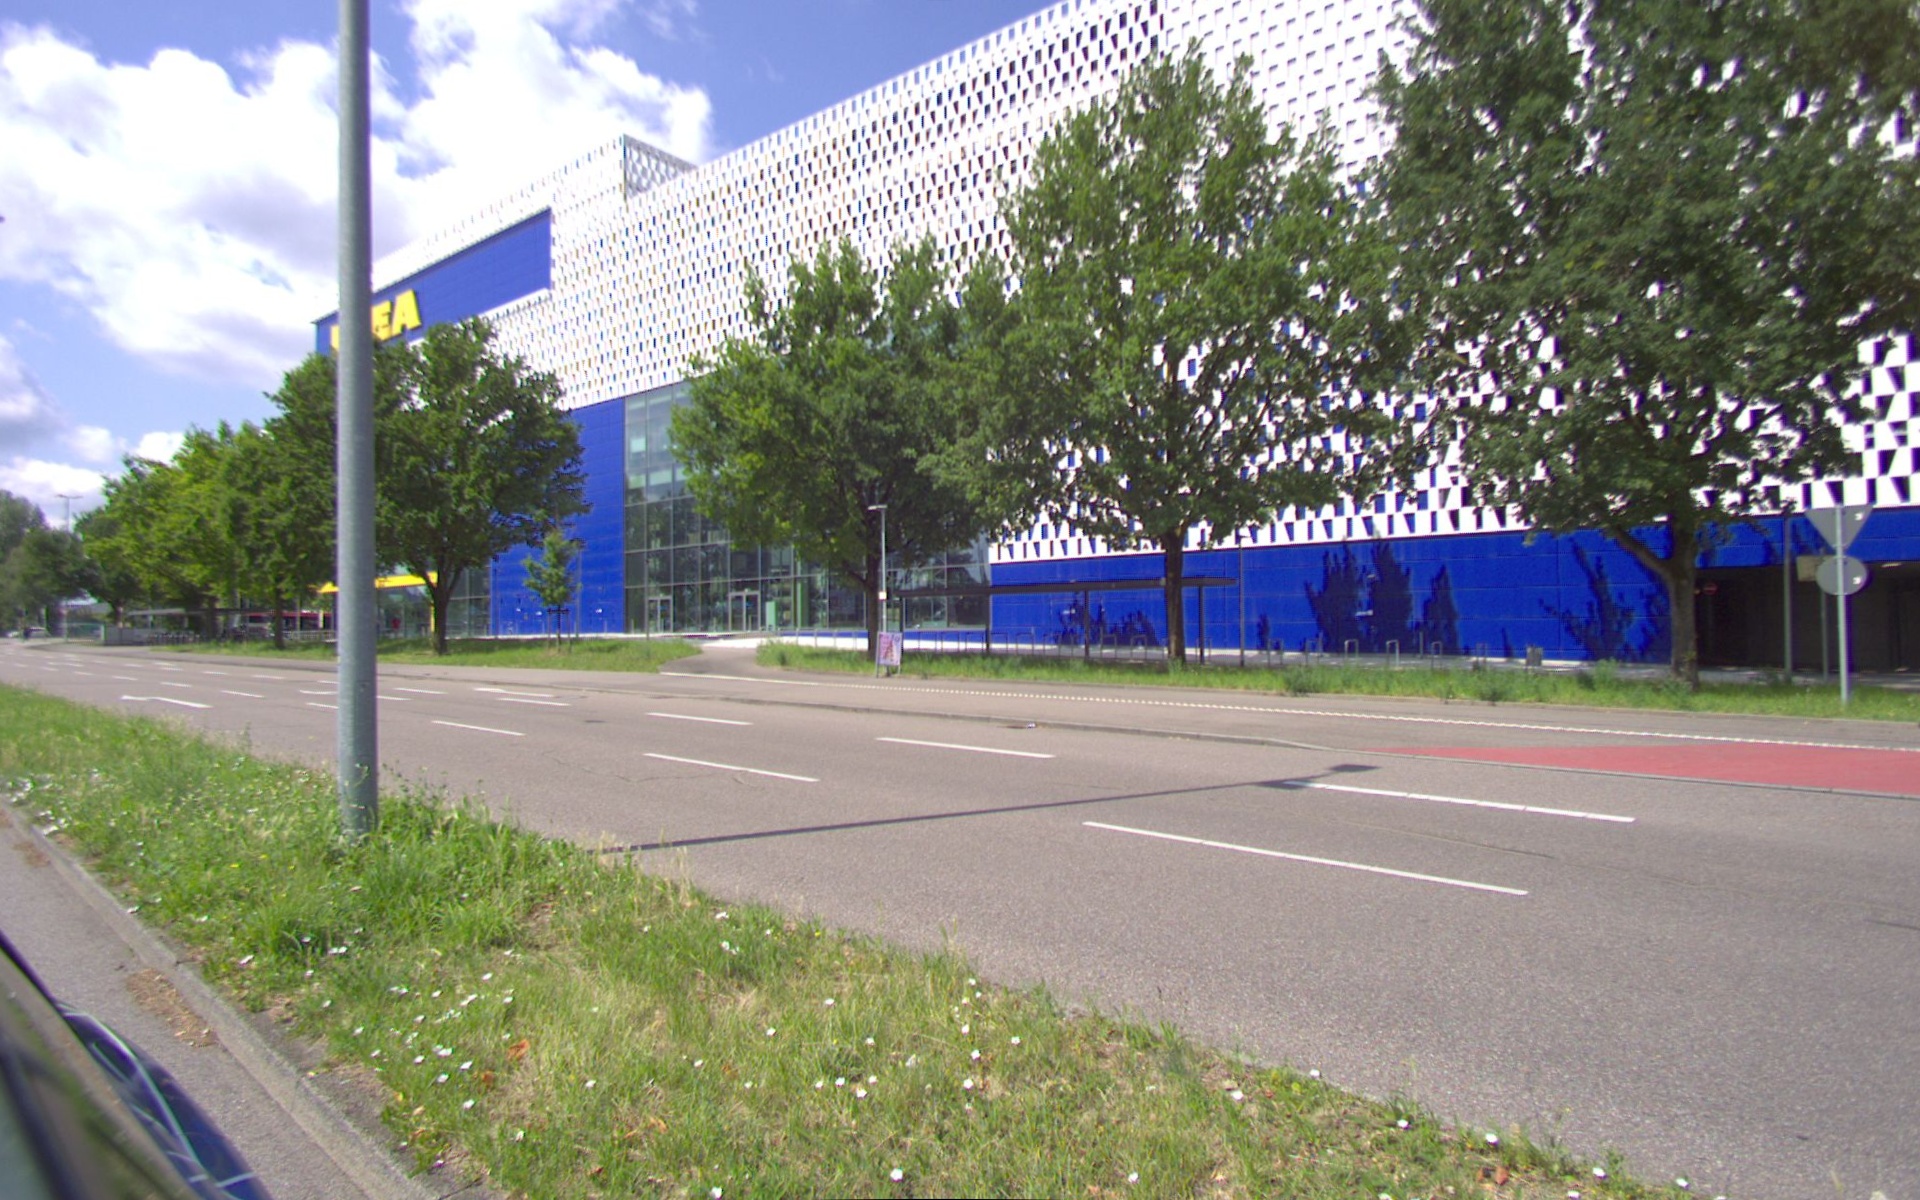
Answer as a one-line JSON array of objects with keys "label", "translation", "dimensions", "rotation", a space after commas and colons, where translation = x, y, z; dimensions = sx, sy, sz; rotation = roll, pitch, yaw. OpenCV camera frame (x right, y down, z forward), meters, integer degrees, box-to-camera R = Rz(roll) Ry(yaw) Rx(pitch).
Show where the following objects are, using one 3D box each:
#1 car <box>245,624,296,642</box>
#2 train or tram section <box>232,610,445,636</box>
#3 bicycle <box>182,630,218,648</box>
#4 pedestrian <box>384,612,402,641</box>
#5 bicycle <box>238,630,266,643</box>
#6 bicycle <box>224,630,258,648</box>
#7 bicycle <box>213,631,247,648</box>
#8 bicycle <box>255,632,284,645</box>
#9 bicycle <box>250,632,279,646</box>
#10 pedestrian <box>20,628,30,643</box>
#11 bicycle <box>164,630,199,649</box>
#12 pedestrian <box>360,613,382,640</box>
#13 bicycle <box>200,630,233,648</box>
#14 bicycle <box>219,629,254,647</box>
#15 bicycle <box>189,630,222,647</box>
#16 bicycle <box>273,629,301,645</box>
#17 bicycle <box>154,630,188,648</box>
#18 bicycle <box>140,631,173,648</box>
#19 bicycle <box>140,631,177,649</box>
[{"label": "car", "translation": [-83.641, 3.974, 122.818], "dimensions": [1.996, 2.029, 4.765], "rotation": [-3, -2, 35]}, {"label": "train or tram section", "translation": [-83.863, 3.314, 138.022], "dimensions": [4.523, 3.055, 24.811], "rotation": [-2, -3, 37]}, {"label": "bicycle", "translation": [-52.819, 2.726, 70.329], "dimensions": [0.629, 1.192, 1.906], "rotation": [-3, -2, 38]}, {"label": "pedestrian", "translation": [-36.437, 1.684, 65.042], "dimensions": [0.886, 1.836, 0.746], "rotation": [-2, -1, 39]}, {"label": "bicycle", "translation": [-60.370, 3.109, 86.324], "dimensions": [0.528, 1.078, 1.917], "rotation": [-1, -1, 34]}, {"label": "bicycle", "translation": [-50.704, 2.762, 71.386], "dimensions": [0.629, 1.193, 1.906], "rotation": [-3, -2, 38]}, {"label": "bicycle", "translation": [-52.327, 2.840, 72.573], "dimensions": [0.629, 1.188, 1.906], "rotation": [-3, -2, 38]}, {"label": "bicycle", "translation": [-57.323, 3.197, 84.008], "dimensions": [0.528, 1.078, 1.917], "rotation": [-1, -1, 34]}, {"label": "bicycle", "translation": [-58.148, 3.254, 84.613], "dimensions": [0.519, 1.098, 1.913], "rotation": [-3, -2, 35]}, {"label": "pedestrian", "translation": [-91.516, 3.499, 99.044], "dimensions": [0.615, 1.502, 0.435], "rotation": [-1, -1, 22]}, {"label": "bicycle", "translation": [-56.531, 2.875, 73.491], "dimensions": [0.629, 1.282, 1.906], "rotation": [-3, -2, 38]}, {"label": "pedestrian", "translation": [-37.078, 1.668, 63.707], "dimensions": [0.886, 1.715, 0.941], "rotation": [-2, -1, 39]}, {"label": "bicycle", "translation": [-55.221, 2.870, 75.169], "dimensions": [0.629, 1.282, 1.906], "rotation": [-3, -2, 38]}, {"label": "bicycle", "translation": [-51.485, 2.700, 72.029], "dimensions": [0.629, 1.282, 1.906], "rotation": [-3, -2, 38]}, {"label": "bicycle", "translation": [-57.111, 2.918, 76.605], "dimensions": [0.629, 1.282, 1.906], "rotation": [-3, -2, 38]}, {"label": "bicycle", "translation": [-55.606, 3.055, 83.625], "dimensions": [0.528, 1.219, 1.917], "rotation": [-1, -1, 34]}, {"label": "bicycle", "translation": [-58.404, 2.911, 74.944], "dimensions": [0.629, 1.282, 1.906], "rotation": [-3, -2, 38]}, {"label": "bicycle", "translation": [-61.276, 3.012, 77.177], "dimensions": [0.629, 1.282, 1.906], "rotation": [-3, -2, 38]}, {"label": "bicycle", "translation": [-59.603, 2.955, 75.277], "dimensions": [0.629, 1.282, 2.069], "rotation": [-3, -2, 38]}]
